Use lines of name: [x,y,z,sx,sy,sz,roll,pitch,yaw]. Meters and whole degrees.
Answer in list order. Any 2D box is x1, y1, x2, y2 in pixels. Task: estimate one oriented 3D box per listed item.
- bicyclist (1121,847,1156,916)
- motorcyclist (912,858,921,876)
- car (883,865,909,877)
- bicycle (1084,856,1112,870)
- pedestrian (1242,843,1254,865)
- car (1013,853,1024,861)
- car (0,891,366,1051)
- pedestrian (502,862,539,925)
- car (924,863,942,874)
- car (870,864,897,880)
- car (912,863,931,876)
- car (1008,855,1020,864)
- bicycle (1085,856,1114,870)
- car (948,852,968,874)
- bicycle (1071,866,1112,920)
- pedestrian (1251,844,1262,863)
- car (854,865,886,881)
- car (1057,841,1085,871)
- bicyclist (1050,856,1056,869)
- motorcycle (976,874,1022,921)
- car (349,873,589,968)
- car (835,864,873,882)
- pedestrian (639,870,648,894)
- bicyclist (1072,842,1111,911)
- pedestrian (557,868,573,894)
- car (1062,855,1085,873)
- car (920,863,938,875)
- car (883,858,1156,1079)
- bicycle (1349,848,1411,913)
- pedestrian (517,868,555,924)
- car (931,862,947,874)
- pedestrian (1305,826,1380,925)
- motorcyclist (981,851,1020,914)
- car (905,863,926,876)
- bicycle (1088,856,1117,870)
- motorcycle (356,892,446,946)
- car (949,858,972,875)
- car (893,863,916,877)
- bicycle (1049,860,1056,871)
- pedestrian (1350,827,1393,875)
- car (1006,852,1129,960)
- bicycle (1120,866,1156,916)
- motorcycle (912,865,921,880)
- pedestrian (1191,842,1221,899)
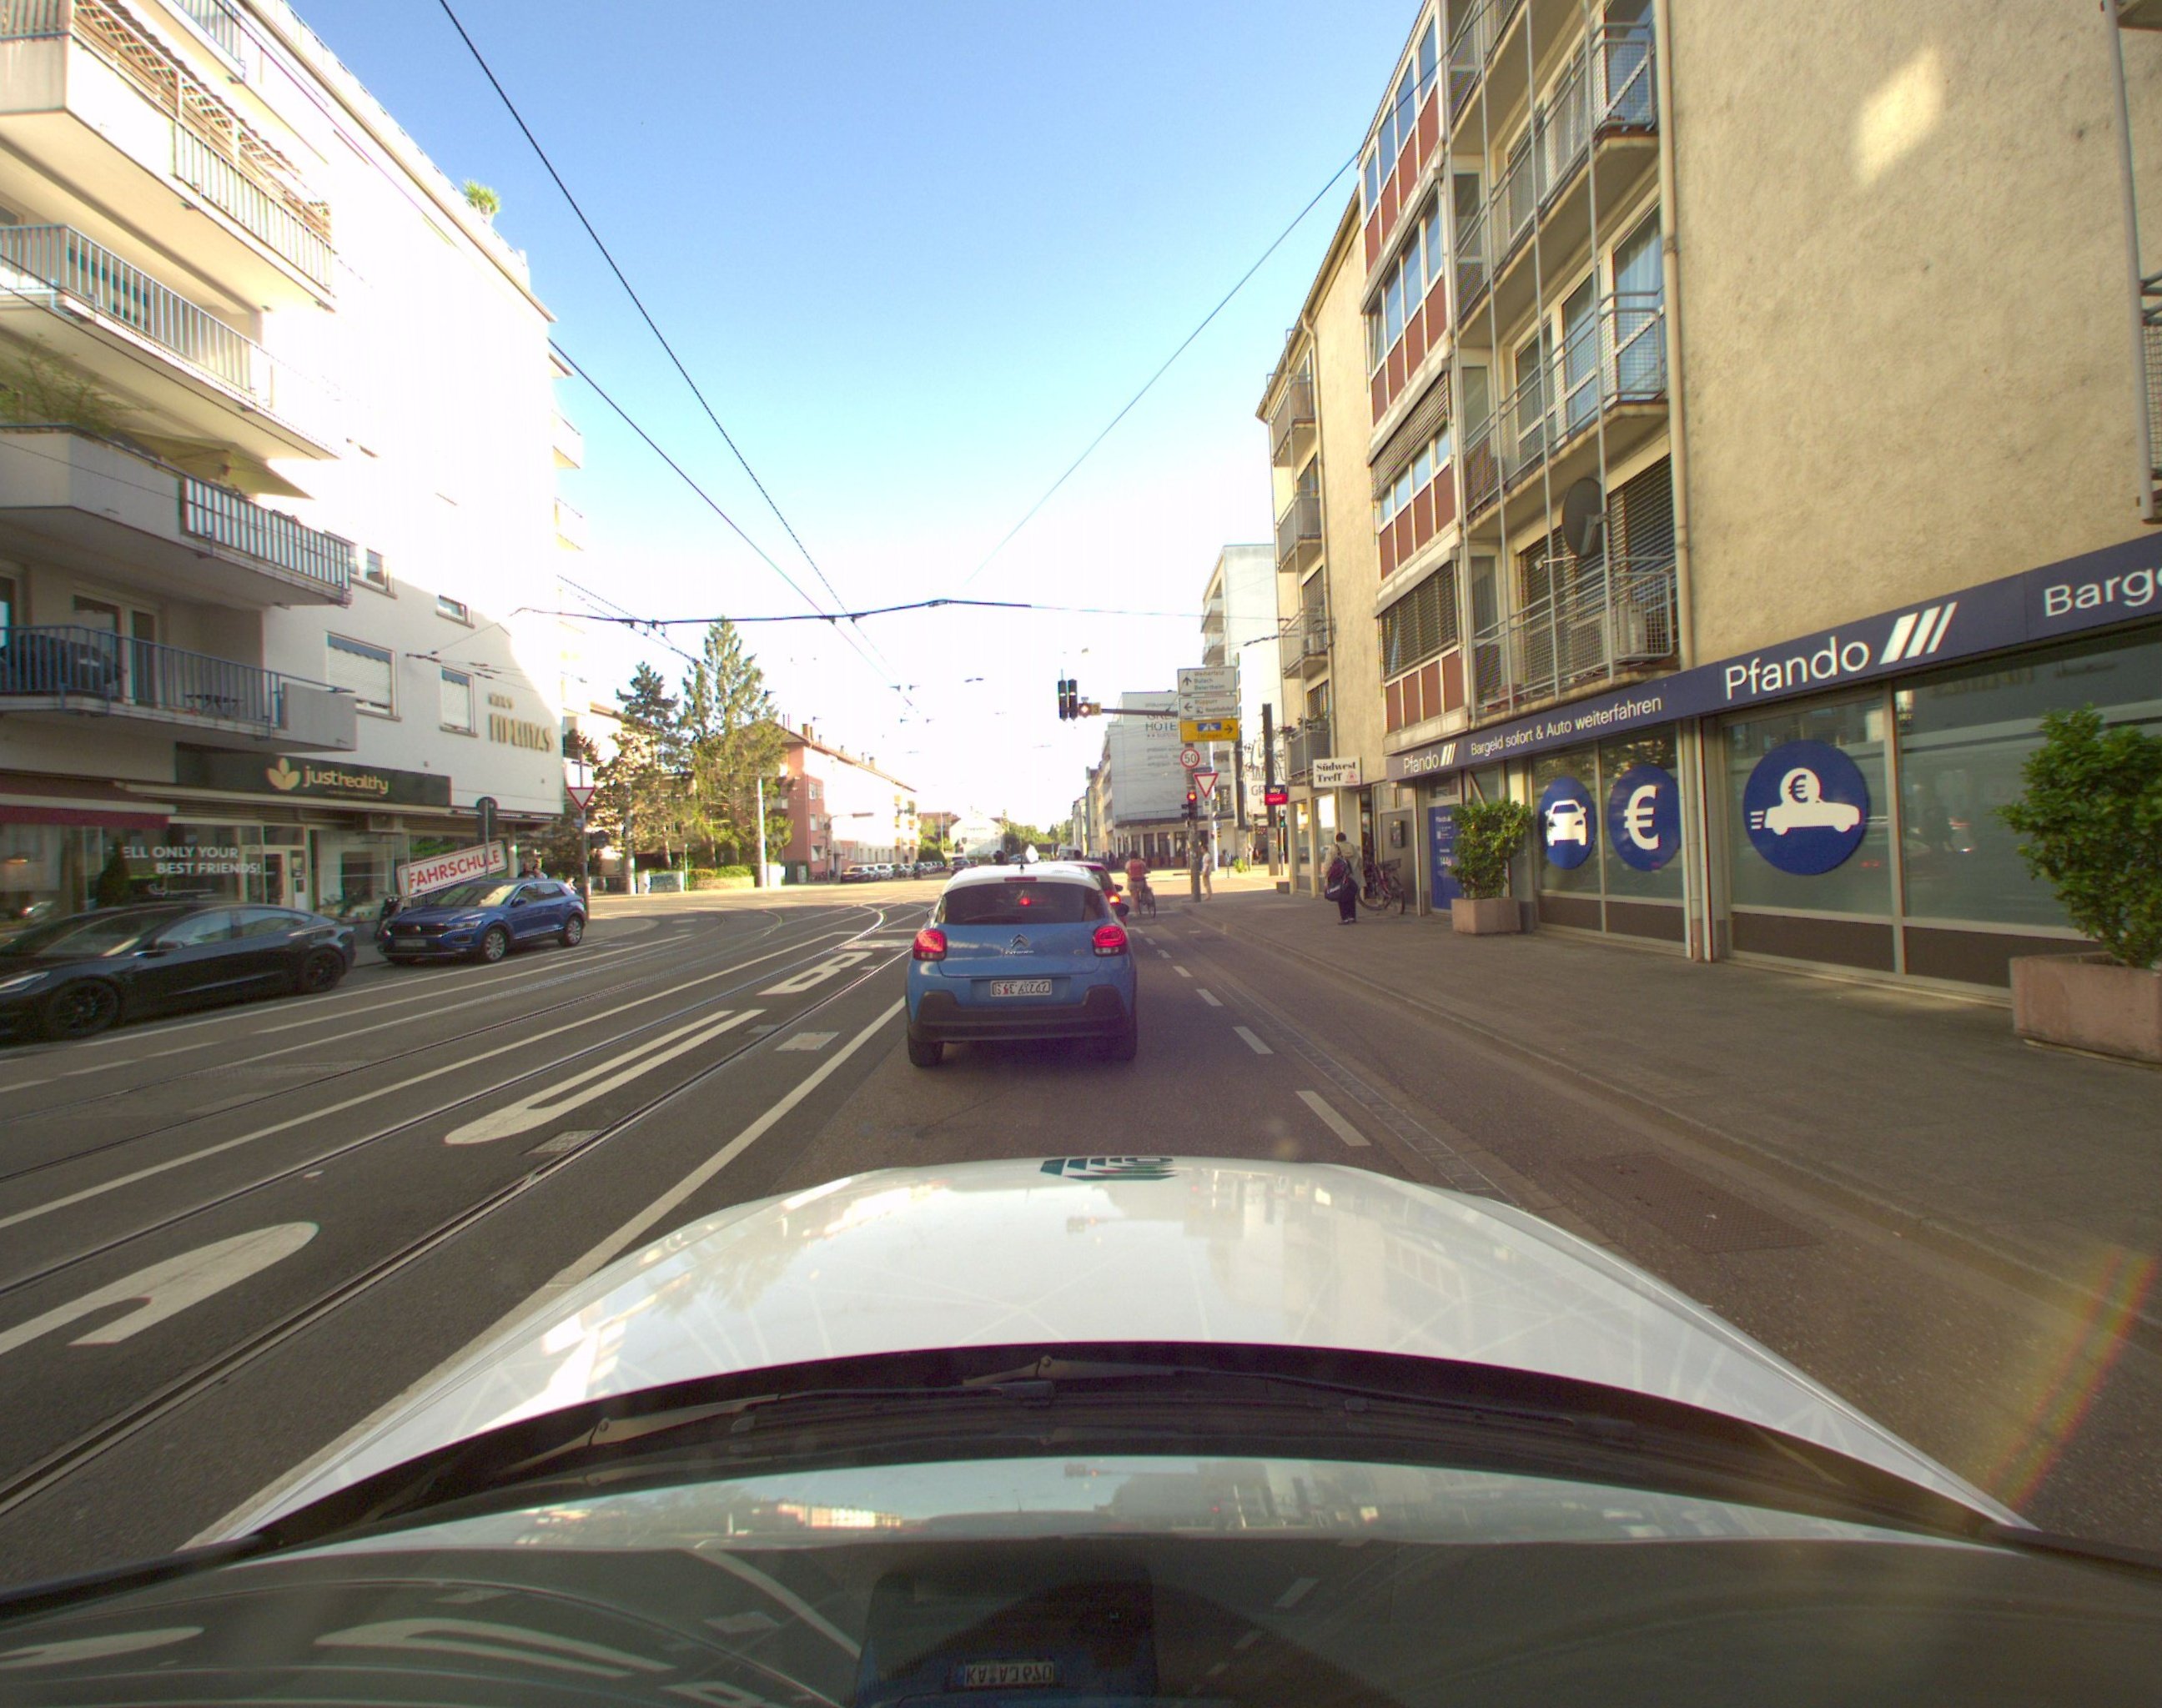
bicyclist: [1.455,0.689,20.494,0.807,1.692,0.937,0,-1,6]
motorcyclist: [-13.644,1.099,67.610,0.694,1.497,0.681,-2,-2,-12]
car: [-19.616,1.763,86.524,1.942,1.239,4.279,0,0,-2]
bicycle: [1.390,0.755,68.424,2.246,1.001,0.855,-4,0,-4]
pedestrian: [12.394,0.031,60.338,0.604,1.608,0.673,-1,-1,40]
car: [-14.470,0.757,188.455,2.068,1.762,5.034,0,0,-1]
car: [-11.995,1.305,10.429,1.764,1.475,4.443,0,0,-1]
pedestrian: [-17.292,1.204,25.152,0.568,1.900,0.742,-2,-3,16]
car: [-20.575,1.991,113.299,1.865,1.576,3.995,0,-1,-3]
car: [-19.414,1.716,80.107,1.737,1.526,4.227,0,0,-1]
car: [-20.177,1.908,103.285,1.865,1.576,3.995,0,-1,-3]
car: [-14.033,1.205,171.497,2.212,1.932,4.946,0,-1,-1]
bicycle: [1.538,0.738,67.309,2.246,1.001,0.855,-4,0,-4]
car: [-18.057,1.260,119.692,2.411,3.142,3.487,0,-1,-1]
bicycle: [0.258,0.931,20.088,0.937,1.223,2.094,0,-1,1]
pedestrian: [13.445,-0.014,62.456,0.600,1.444,0.558,-1,-1,34]
car: [-19.374,1.743,74.892,1.897,1.436,4.102,0,0,0]
car: [-0.966,0.185,73.030,2.260,2.482,5.002,-1,0,-3]
bicyclist: [-4.444,1.371,127.860,0.787,2.024,0.987,0,-1,3]
motorcycle: [-1.944,1.022,19.649,0.852,1.047,1.943,0,-1,2]
car: [-11.881,1.194,16.247,1.765,1.503,4.233,0,1,-4]
car: [-19.370,1.627,69.684,2.149,1.432,4.435,0,-2,-3]
pedestrian: [-29.569,1.873,55.069,0.519,1.568,0.568,0,-1,-26]
bicyclist: [0.258,0.546,20.128,0.937,1.673,1.079,0,-1,0]
pedestrian: [-33.904,1.771,53.506,0.785,1.722,0.699,0,-1,-22]
car: [-0.659,0.827,68.045,1.654,1.431,3.882,0,-1,-4]
car: [-20.192,1.948,108.213,1.865,1.576,3.995,0,-1,-3]
car: [-0.262,0.788,7.301,1.727,1.452,3.669,-1,0,7]
bicycle: [5.749,0.497,15.756,0.495,1.161,1.776,-2,-1,-1]
pedestrian: [-18.056,1.375,27.012,0.732,1.792,0.663,-2,0,5]
car: [-20.780,2.043,119.666,1.865,1.576,3.995,0,-1,-3]
pedestrian: [4.517,0.359,14.123,0.883,1.592,0.809,-5,1,-7]
motorcyclist: [-1.944,0.679,19.840,0.852,1.488,0.729,0,-1,1]
car: [-19.997,1.870,98.638,1.865,1.576,3.995,0,-1,-3]
bicycle: [1.767,0.735,65.935,2.246,1.001,0.855,-4,0,-4]
motorcycle: [-15.810,1.483,18.997,0.605,1.134,1.795,0,-1,-2]
car: [-11.360,1.124,76.879,1.775,1.486,3.824,-3,0,-3]
car: [-20.061,1.823,92.731,1.865,1.576,3.995,0,-1,-3]
bicycle: [-4.440,1.838,127.848,0.787,1.670,2.231,0,-1,3]
pedestrian: [6.834,-0.073,19.142,0.627,1.087,0.672,-3,1,-36]
car: [-0.279,0.739,13.641,1.780,1.521,3.758,0,0,-3]
bicycle: [1.475,0.908,20.625,0.807,1.181,2.068,0,-1,6]
motorcycle: [-13.604,1.547,67.465,0.712,1.220,1.957,-2,-2,-12]
pedestrian: [3.703,0.494,24.187,0.534,1.623,0.737,-7,-3,23]
